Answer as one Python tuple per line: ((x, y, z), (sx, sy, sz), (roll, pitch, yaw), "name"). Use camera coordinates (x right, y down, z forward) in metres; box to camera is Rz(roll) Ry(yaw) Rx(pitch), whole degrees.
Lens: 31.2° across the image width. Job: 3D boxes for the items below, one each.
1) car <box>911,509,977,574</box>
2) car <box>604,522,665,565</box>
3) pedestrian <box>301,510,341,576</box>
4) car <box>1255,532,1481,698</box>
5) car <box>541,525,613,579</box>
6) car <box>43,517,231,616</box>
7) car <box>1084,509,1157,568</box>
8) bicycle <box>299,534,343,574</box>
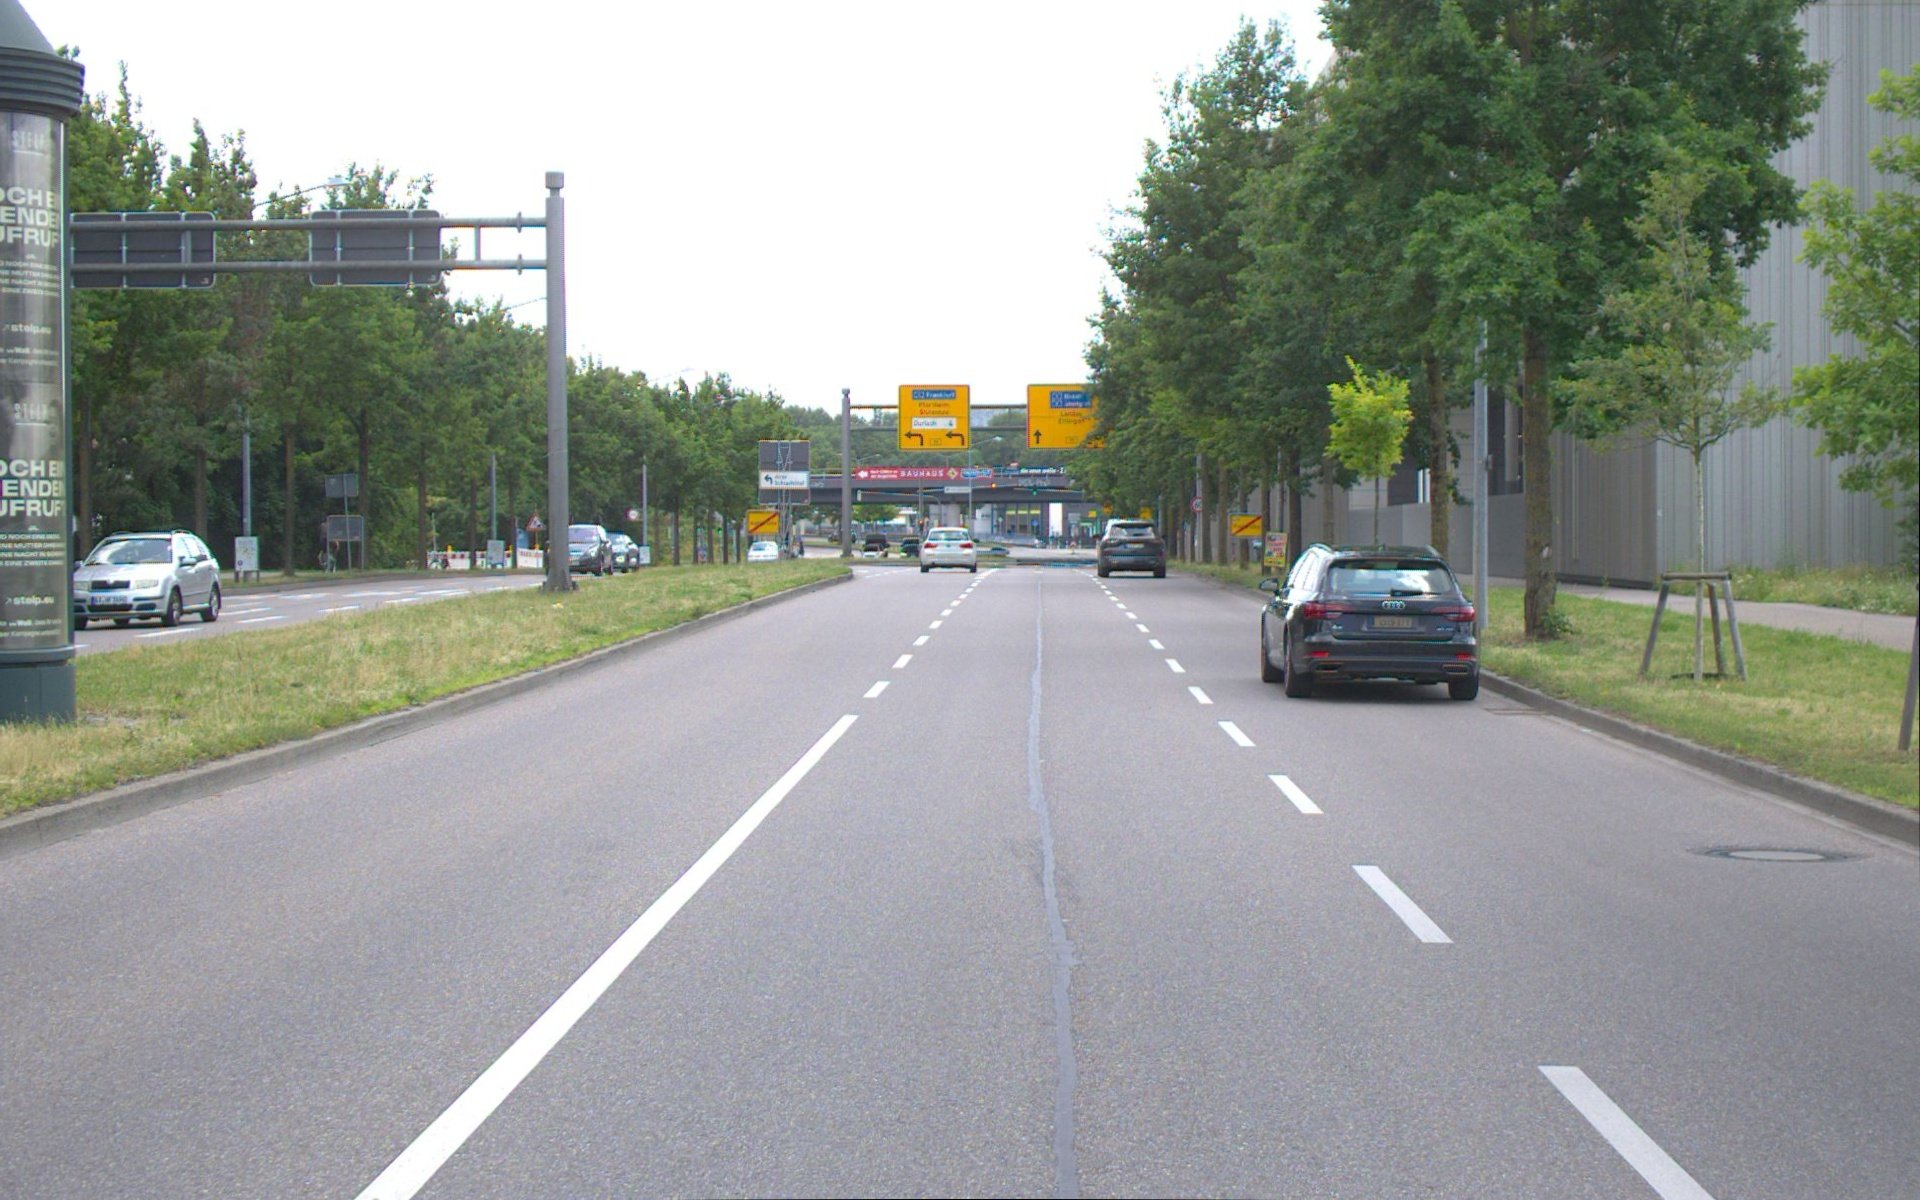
((-0.517, -1.856, 109.287), (1.993, 2.007, 4.000), (1, 1, -1), "car")
((-12.300, -2.152, 130.034), (1.741, 1.540, 4.573), (-1, 1, 1), "car")
((-19.769, -1.770, 106.373), (0.970, 2.007, 1.249), (0, 1, 0), "pedestrian")
((3.852, 0.104, 33.029), (1.684, 1.458, 4.000), (1, 1, 0), "car")
((-11.813, -1.492, 106.183), (1.741, 1.563, 4.276), (-2, 1, -1), "car")
((-12.707, -0.553, 53.308), (1.763, 1.435, 4.309), (-1, 1, 1), "car")
((4.536, -1.736, 96.759), (1.994, 1.620, 4.309), (0, 2, 3), "car")
((-19.744, -1.438, 106.264), (0.807, 1.222, 2.502), (0, 1, 2), "bicycle")
